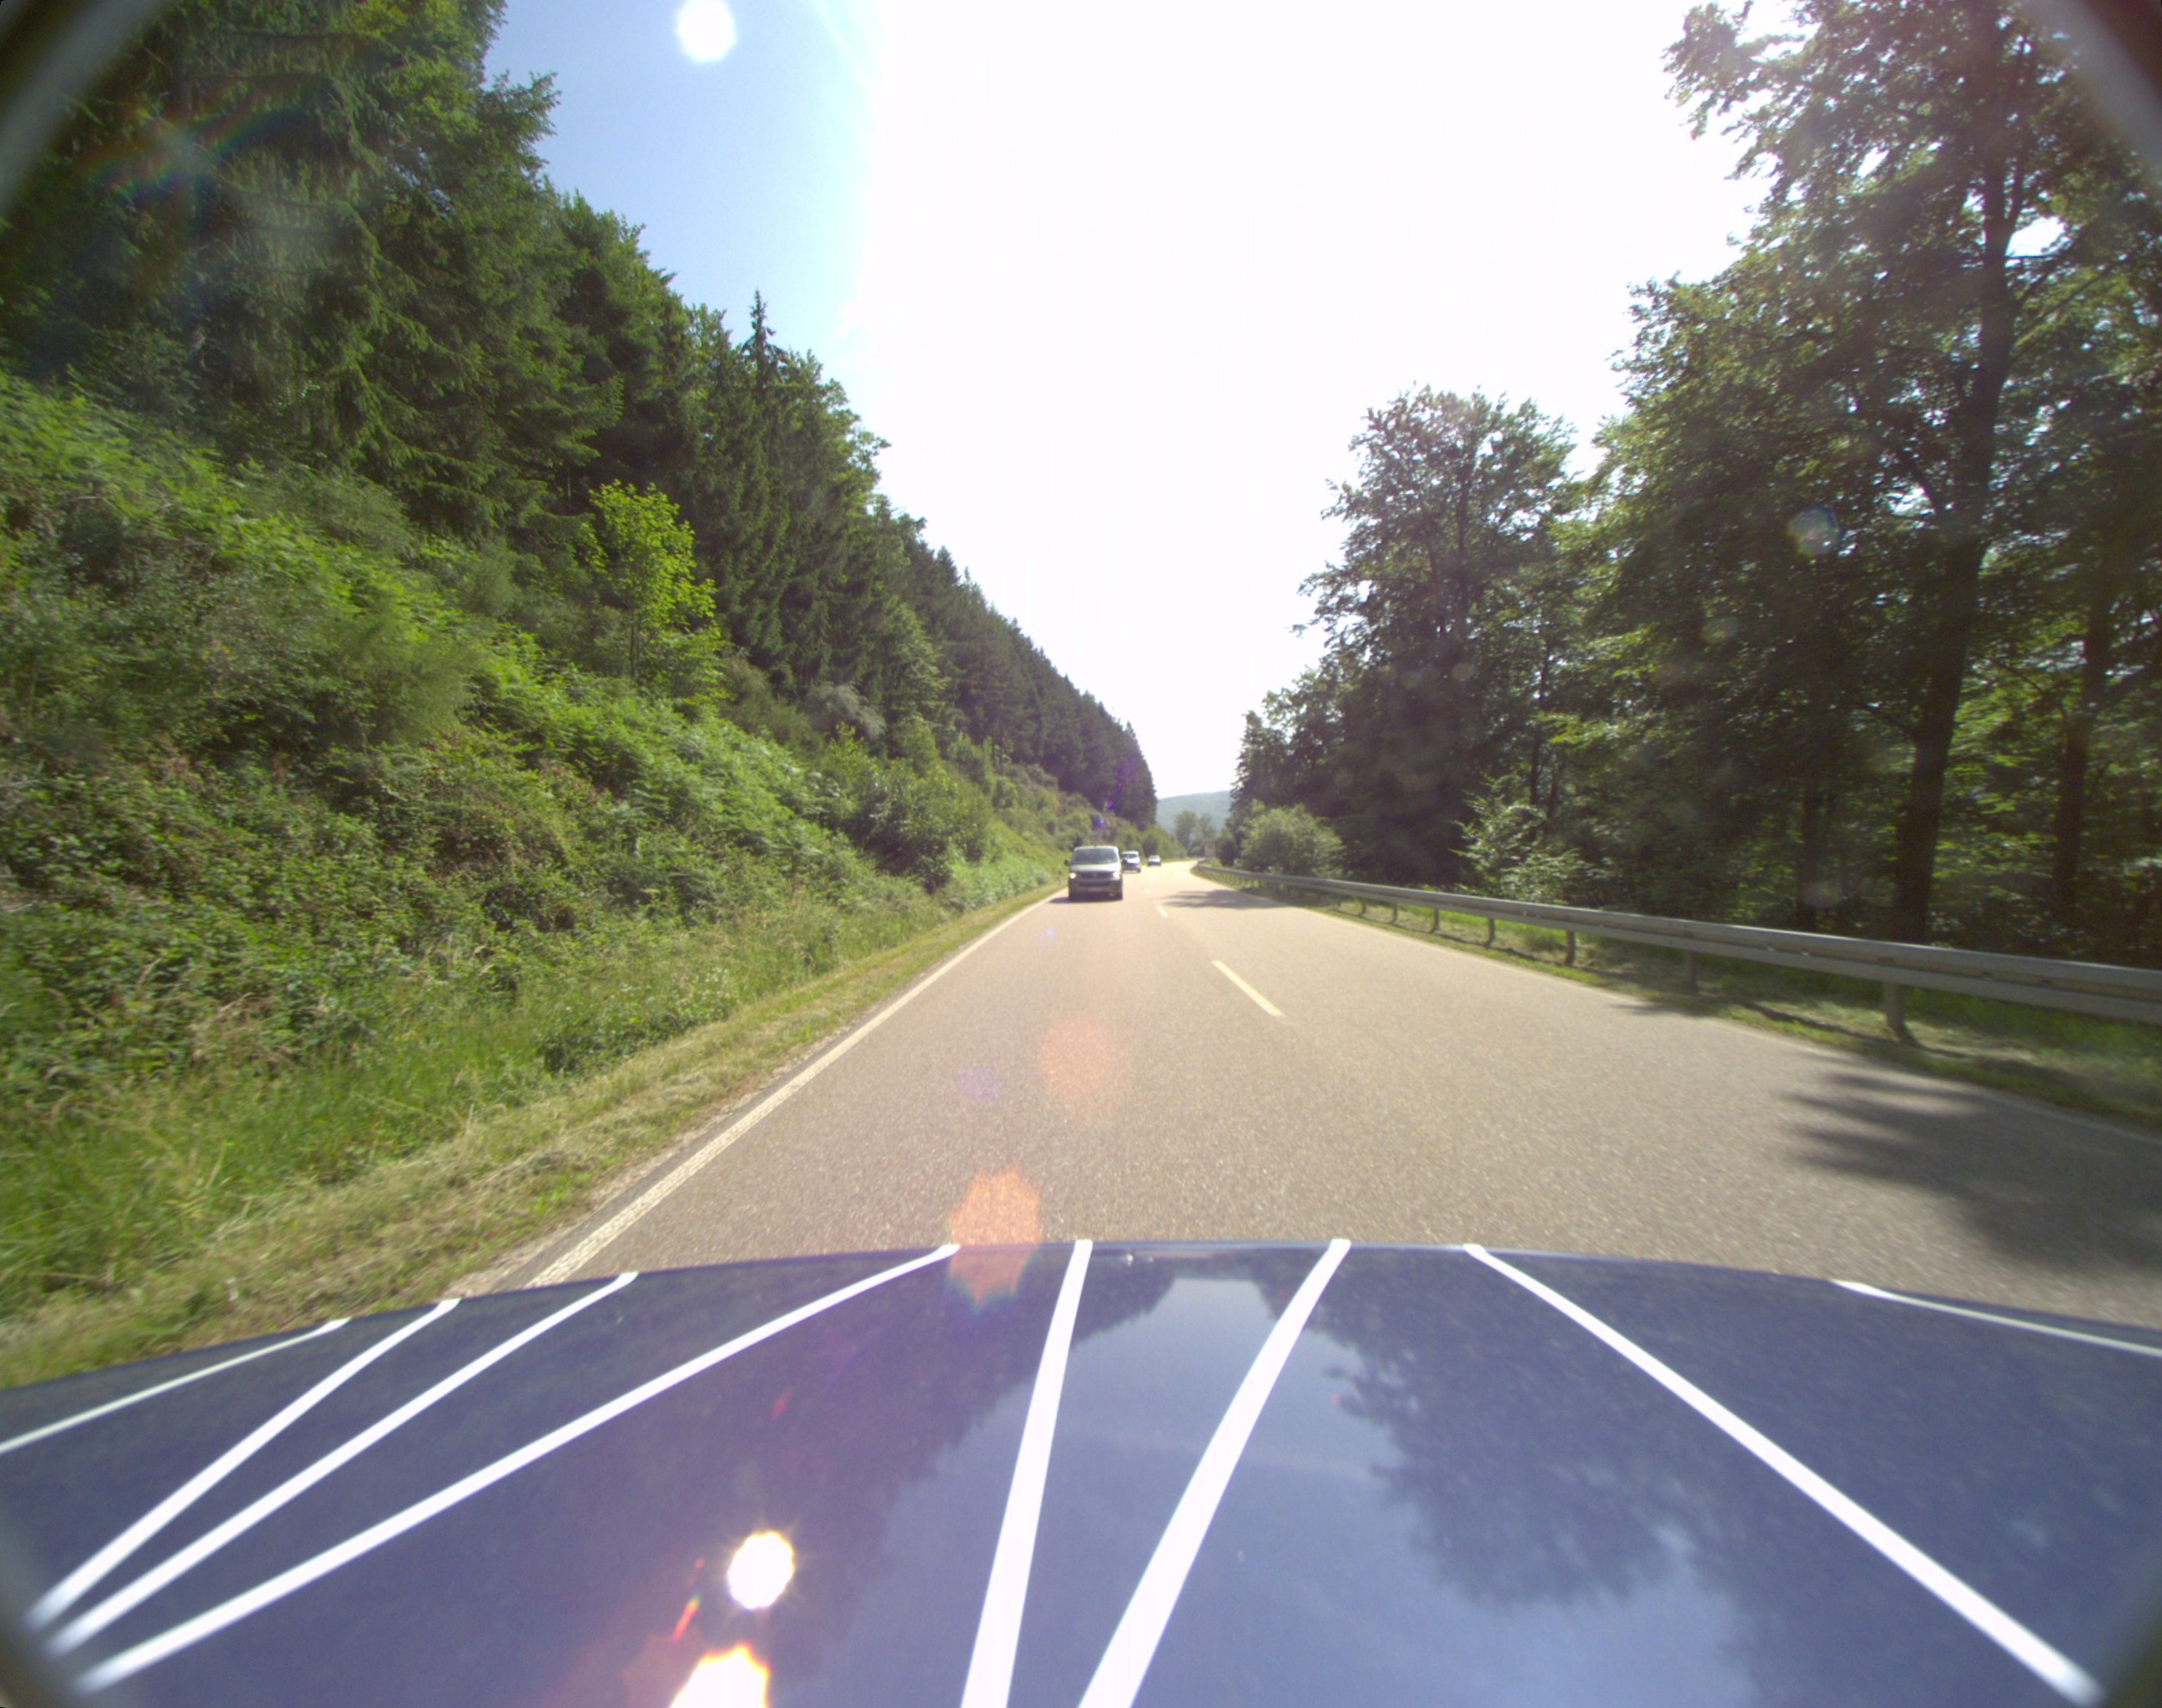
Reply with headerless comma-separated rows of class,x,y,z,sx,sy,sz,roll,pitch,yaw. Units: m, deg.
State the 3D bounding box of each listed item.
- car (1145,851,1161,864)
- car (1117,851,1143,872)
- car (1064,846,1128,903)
car,9.867,0.515,104.113,1.997,1.718,4.002,-1,0,8
car,4.500,0.624,69.083,2.136,1.824,4.724,-1,0,6
car,0.654,0.680,27.760,1.990,1.899,4.761,-1,0,5
